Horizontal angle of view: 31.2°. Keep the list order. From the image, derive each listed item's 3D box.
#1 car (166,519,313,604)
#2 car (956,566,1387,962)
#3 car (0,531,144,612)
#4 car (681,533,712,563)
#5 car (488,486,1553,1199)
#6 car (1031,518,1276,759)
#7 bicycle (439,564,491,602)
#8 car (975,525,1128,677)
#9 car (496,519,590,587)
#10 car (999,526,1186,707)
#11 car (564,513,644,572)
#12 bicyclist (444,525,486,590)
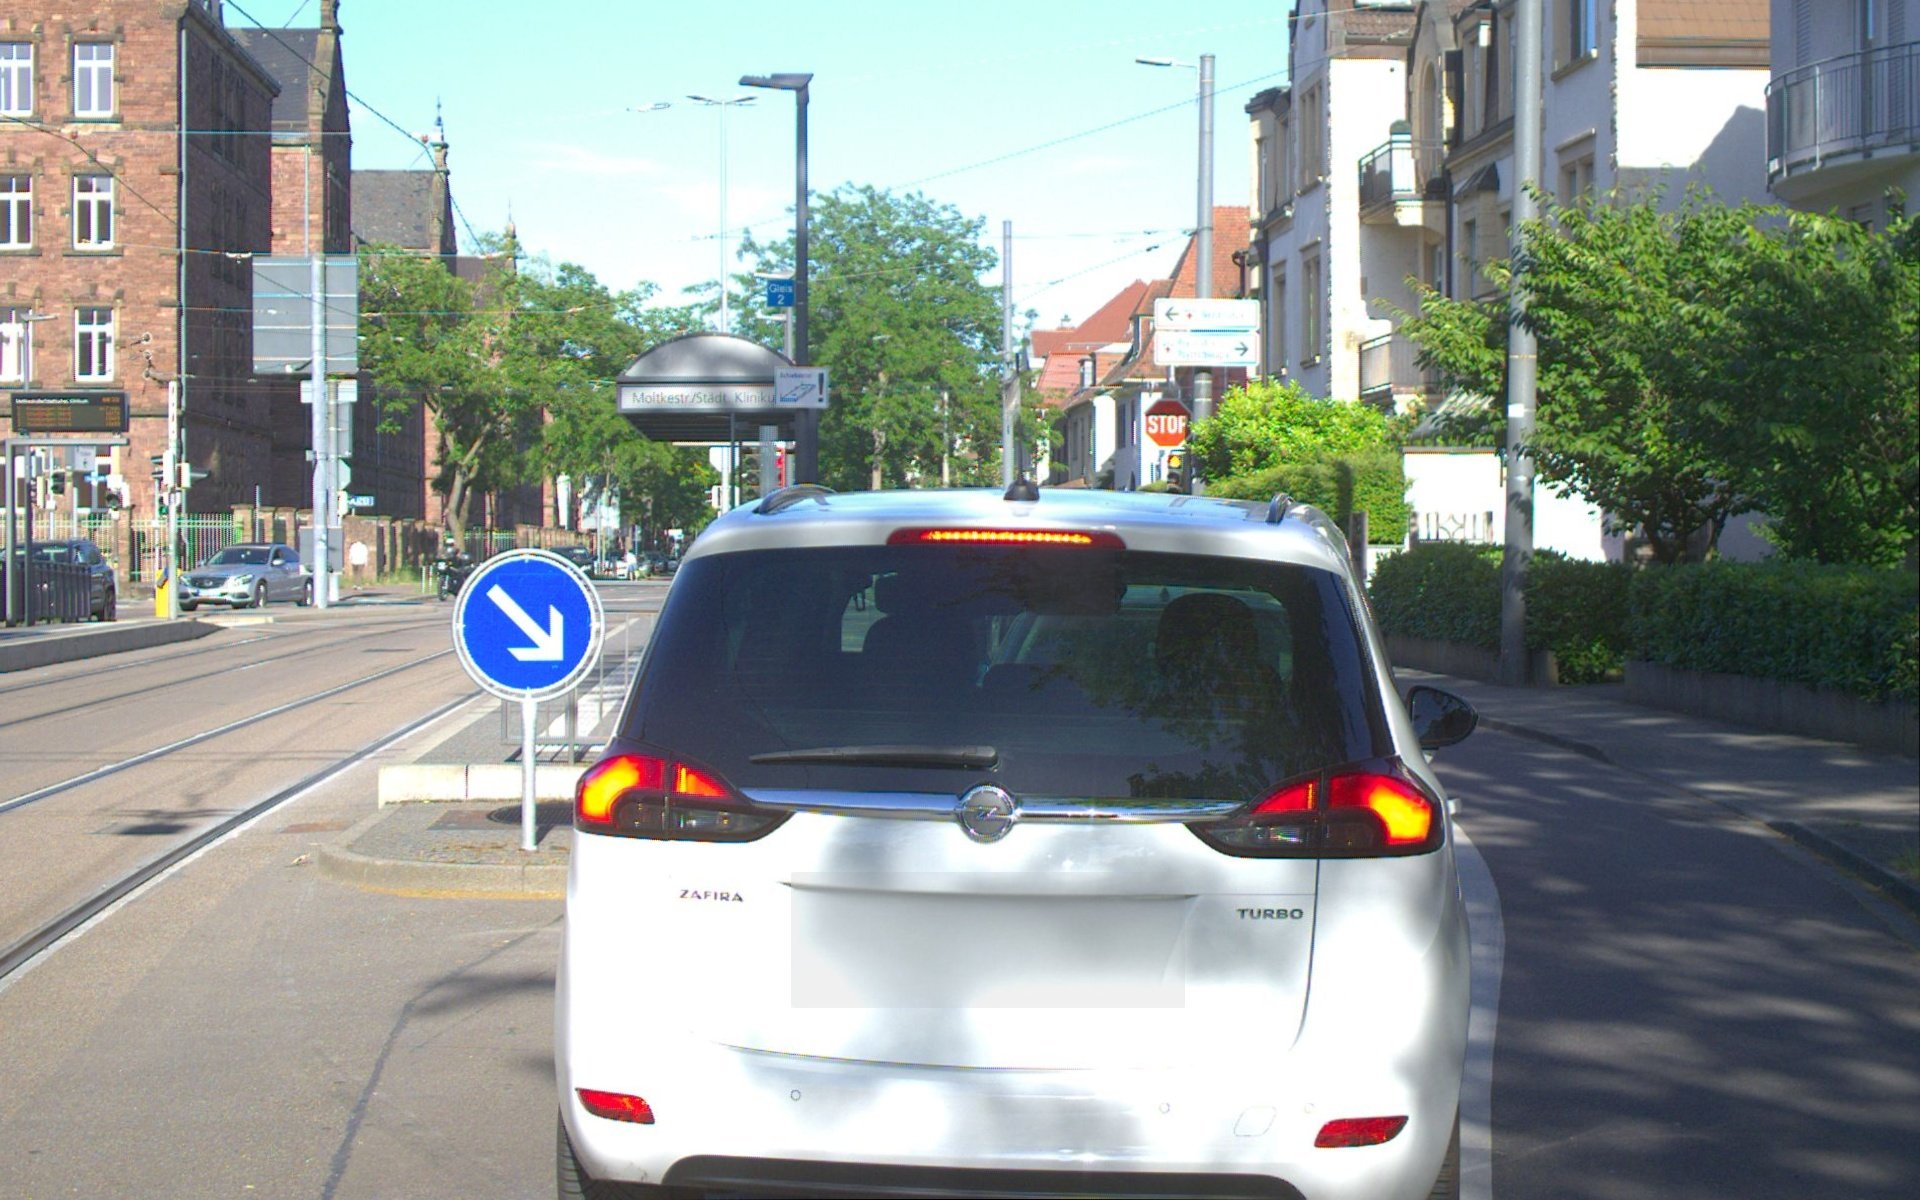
[{"bbox_3d":[-15.642,-0.812,74.833,1.827,1.782,4.326,1,0,7],"label":"car"},{"bbox_3d":[0.954,0.592,14.795,1.569,1.396,3.783,2,1,5],"label":"car"},{"bbox_3d":[-16.799,-0.520,64.007,1.827,1.441,4.326,1,0,6],"label":"car"},{"bbox_3d":[-18.210,-3.581,237.441,1.993,2.007,4.001,1,1,-6],"label":"car"},{"bbox_3d":[0.266,0.561,8.095,1.878,1.579,3.999,1,1,5],"label":"car"},{"bbox_3d":[1.366,0.225,25.504,1.569,1.609,3.784,2,1,0],"label":"car"},{"bbox_3d":[-12.918,-0.448,89.729,0.726,0.962,2.059,1,2,11],"label":"bicycle"},{"bbox_3d":[1.031,-0.030,40.353,1.596,1.629,3.902,2,1,-1],"label":"car"},{"bbox_3d":[-12.836,-1.442,105.988,1.994,2.007,3.999,1,1,6],"label":"car"},{"bbox_3d":[1.260,0.119,34.095,1.596,1.629,3.901,2,1,-1],"label":"car"},{"bbox_3d":[-12.497,-2.012,120.811,1.994,2.007,3.999,1,1,6],"label":"car"},{"bbox_3d":[-12.919,-1.107,89.713,0.726,1.682,1.169,1,1,11],"label":"bicyclist"}]
